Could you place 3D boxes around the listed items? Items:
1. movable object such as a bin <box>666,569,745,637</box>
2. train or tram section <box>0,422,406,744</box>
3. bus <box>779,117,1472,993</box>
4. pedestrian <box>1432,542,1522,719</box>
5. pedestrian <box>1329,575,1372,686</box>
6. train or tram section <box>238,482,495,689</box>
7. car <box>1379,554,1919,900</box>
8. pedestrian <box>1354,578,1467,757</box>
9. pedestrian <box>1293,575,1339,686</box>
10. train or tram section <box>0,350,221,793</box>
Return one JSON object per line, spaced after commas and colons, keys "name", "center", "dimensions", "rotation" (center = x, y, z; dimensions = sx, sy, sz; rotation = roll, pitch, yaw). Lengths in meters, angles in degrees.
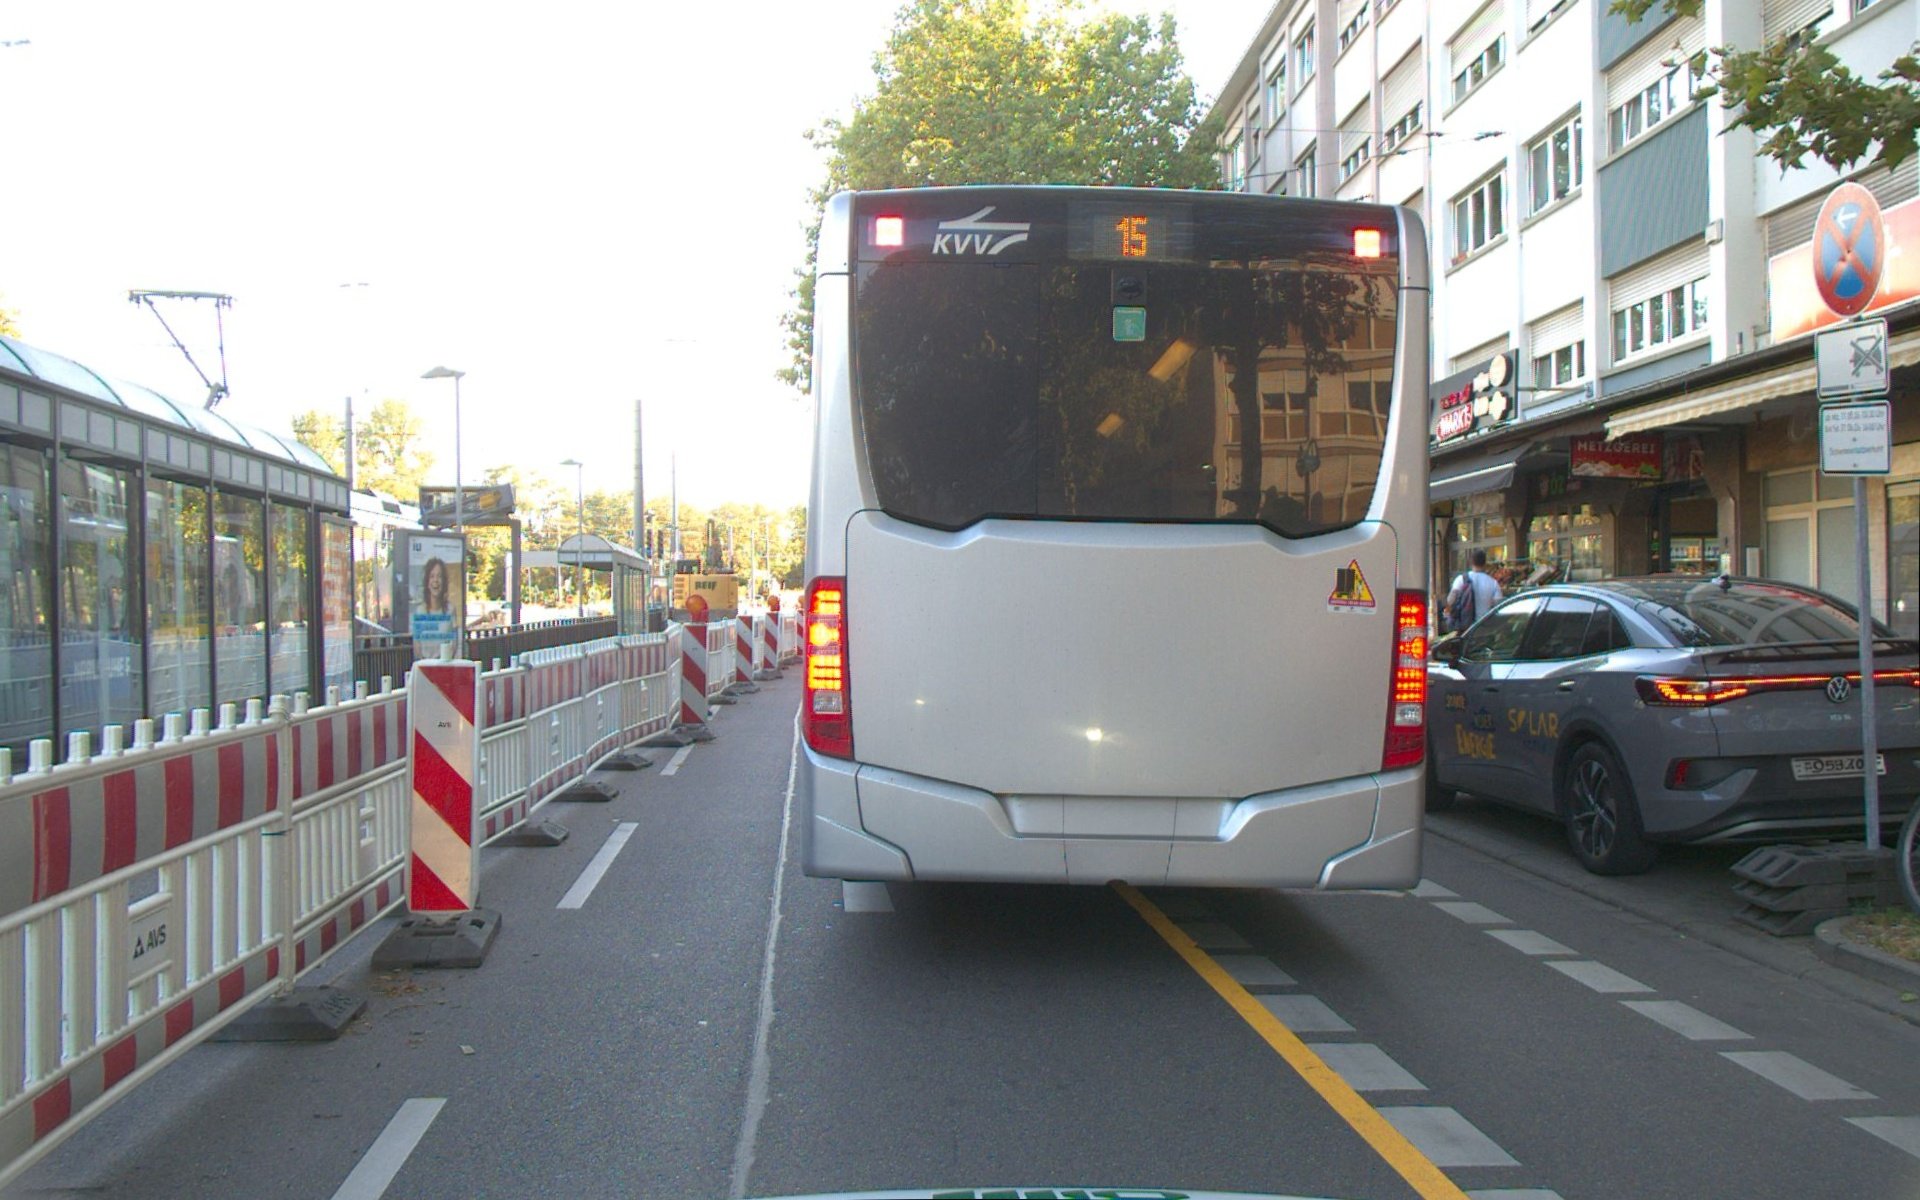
{"name": "movable object such as a bin", "center": [-9.707, 0.111, 63.515], "dimensions": [2.752, 2.505, 3.995], "rotation": [0, 0, -6]}
{"name": "train or tram section", "center": [-10.355, -0.182, 23.458], "dimensions": [2.782, 3.548, 10.320], "rotation": [0, 0, -8]}
{"name": "bus", "center": [0.575, -0.180, 11.253], "dimensions": [2.555, 3.225, 10.290], "rotation": [0, 0, -1]}
{"name": "pedestrian", "center": [6.159, 0.358, 19.741], "dimensions": [0.754, 2.049, 0.713], "rotation": [-2, 0, -3]}
{"name": "pedestrian", "center": [7.289, 0.565, 30.877], "dimensions": [0.600, 2.049, 0.696], "rotation": [-1, 0, -1]}
{"name": "train or tram section", "center": [-11.671, -0.245, 33.675], "dimensions": [2.763, 3.548, 10.321], "rotation": [0, 0, -7]}
{"name": "car", "center": [4.216, 0.612, 10.312], "dimensions": [1.706, 1.625, 4.294], "rotation": [-3, 0, -5]}
{"name": "pedestrian", "center": [4.228, 0.612, 15.494], "dimensions": [0.737, 1.608, 0.873], "rotation": [-1, -1, 37]}
{"name": "pedestrian", "center": [6.622, 0.560, 30.802], "dimensions": [0.677, 2.049, 0.696], "rotation": [-1, 0, -1]}
{"name": "train or tram section", "center": [-9.103, -0.225, 13.266], "dimensions": [2.816, 3.548, 10.323], "rotation": [0, 0, -7]}
